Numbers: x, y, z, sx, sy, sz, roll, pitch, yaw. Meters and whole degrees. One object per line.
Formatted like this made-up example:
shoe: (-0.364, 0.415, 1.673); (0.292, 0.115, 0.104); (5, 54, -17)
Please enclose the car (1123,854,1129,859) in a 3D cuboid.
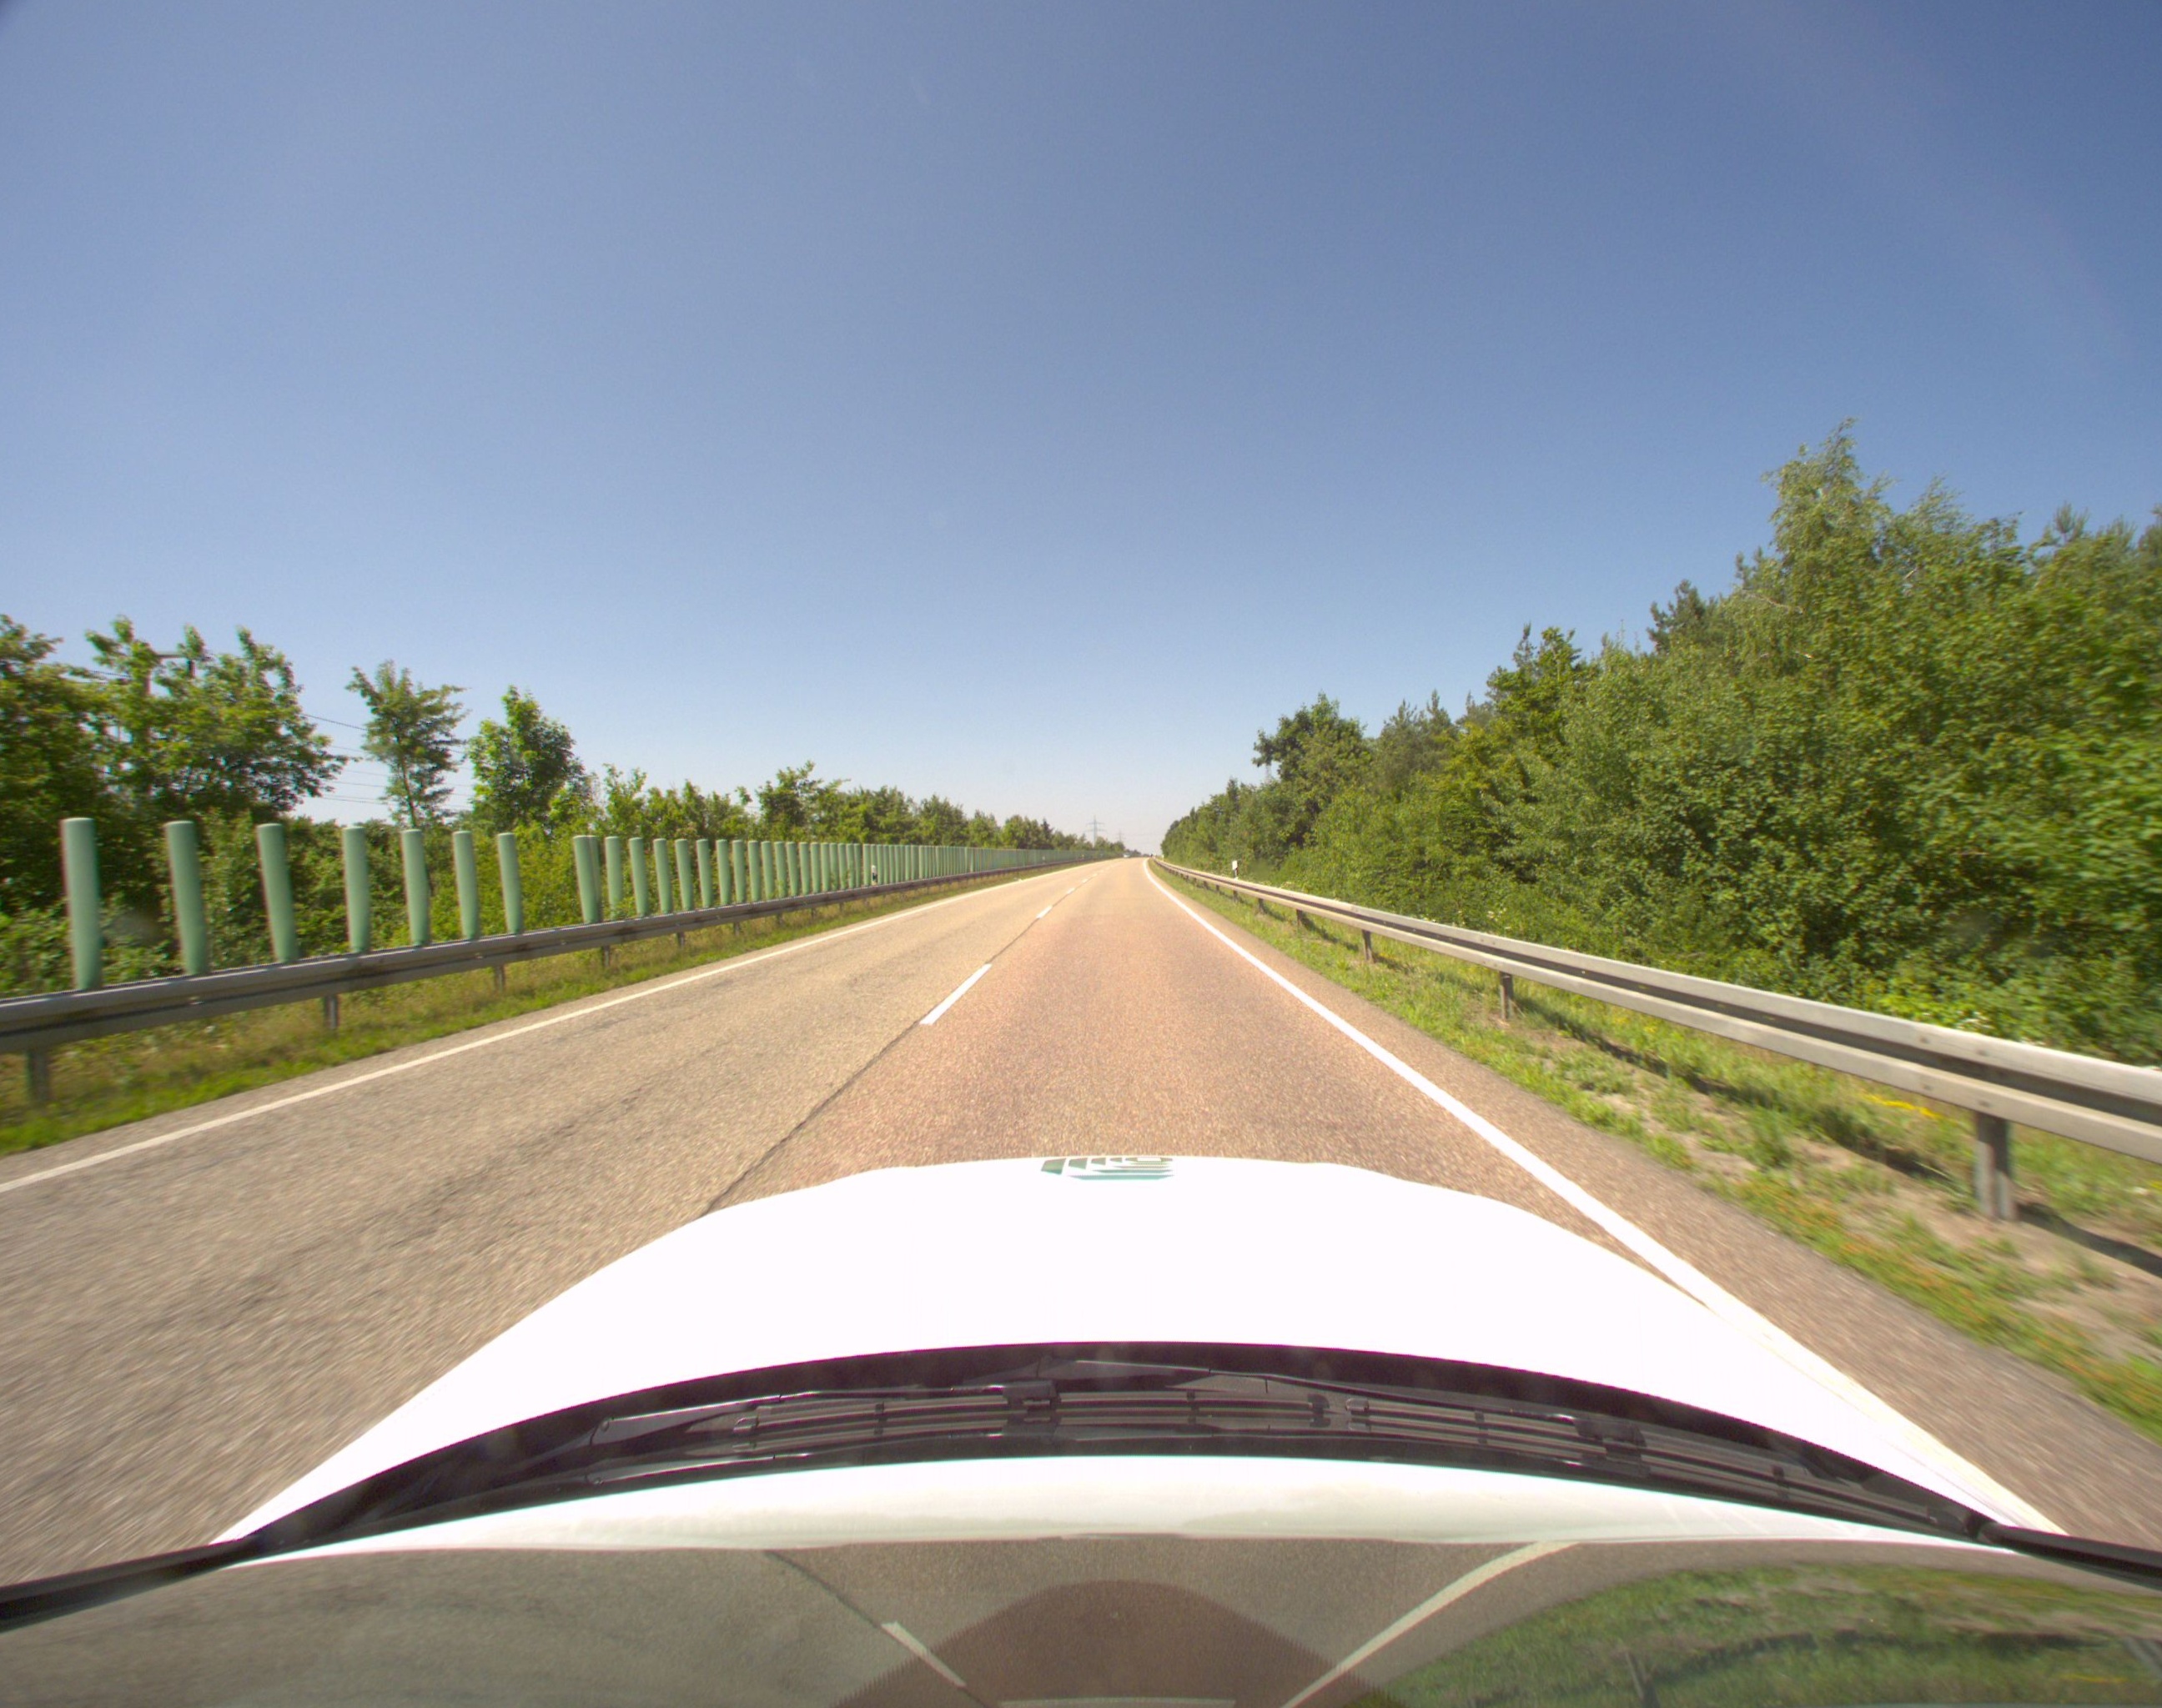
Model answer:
car: (12.196, 0.679, 220.657); (1.712, 1.501, 4.253); (-1, 0, 4)
